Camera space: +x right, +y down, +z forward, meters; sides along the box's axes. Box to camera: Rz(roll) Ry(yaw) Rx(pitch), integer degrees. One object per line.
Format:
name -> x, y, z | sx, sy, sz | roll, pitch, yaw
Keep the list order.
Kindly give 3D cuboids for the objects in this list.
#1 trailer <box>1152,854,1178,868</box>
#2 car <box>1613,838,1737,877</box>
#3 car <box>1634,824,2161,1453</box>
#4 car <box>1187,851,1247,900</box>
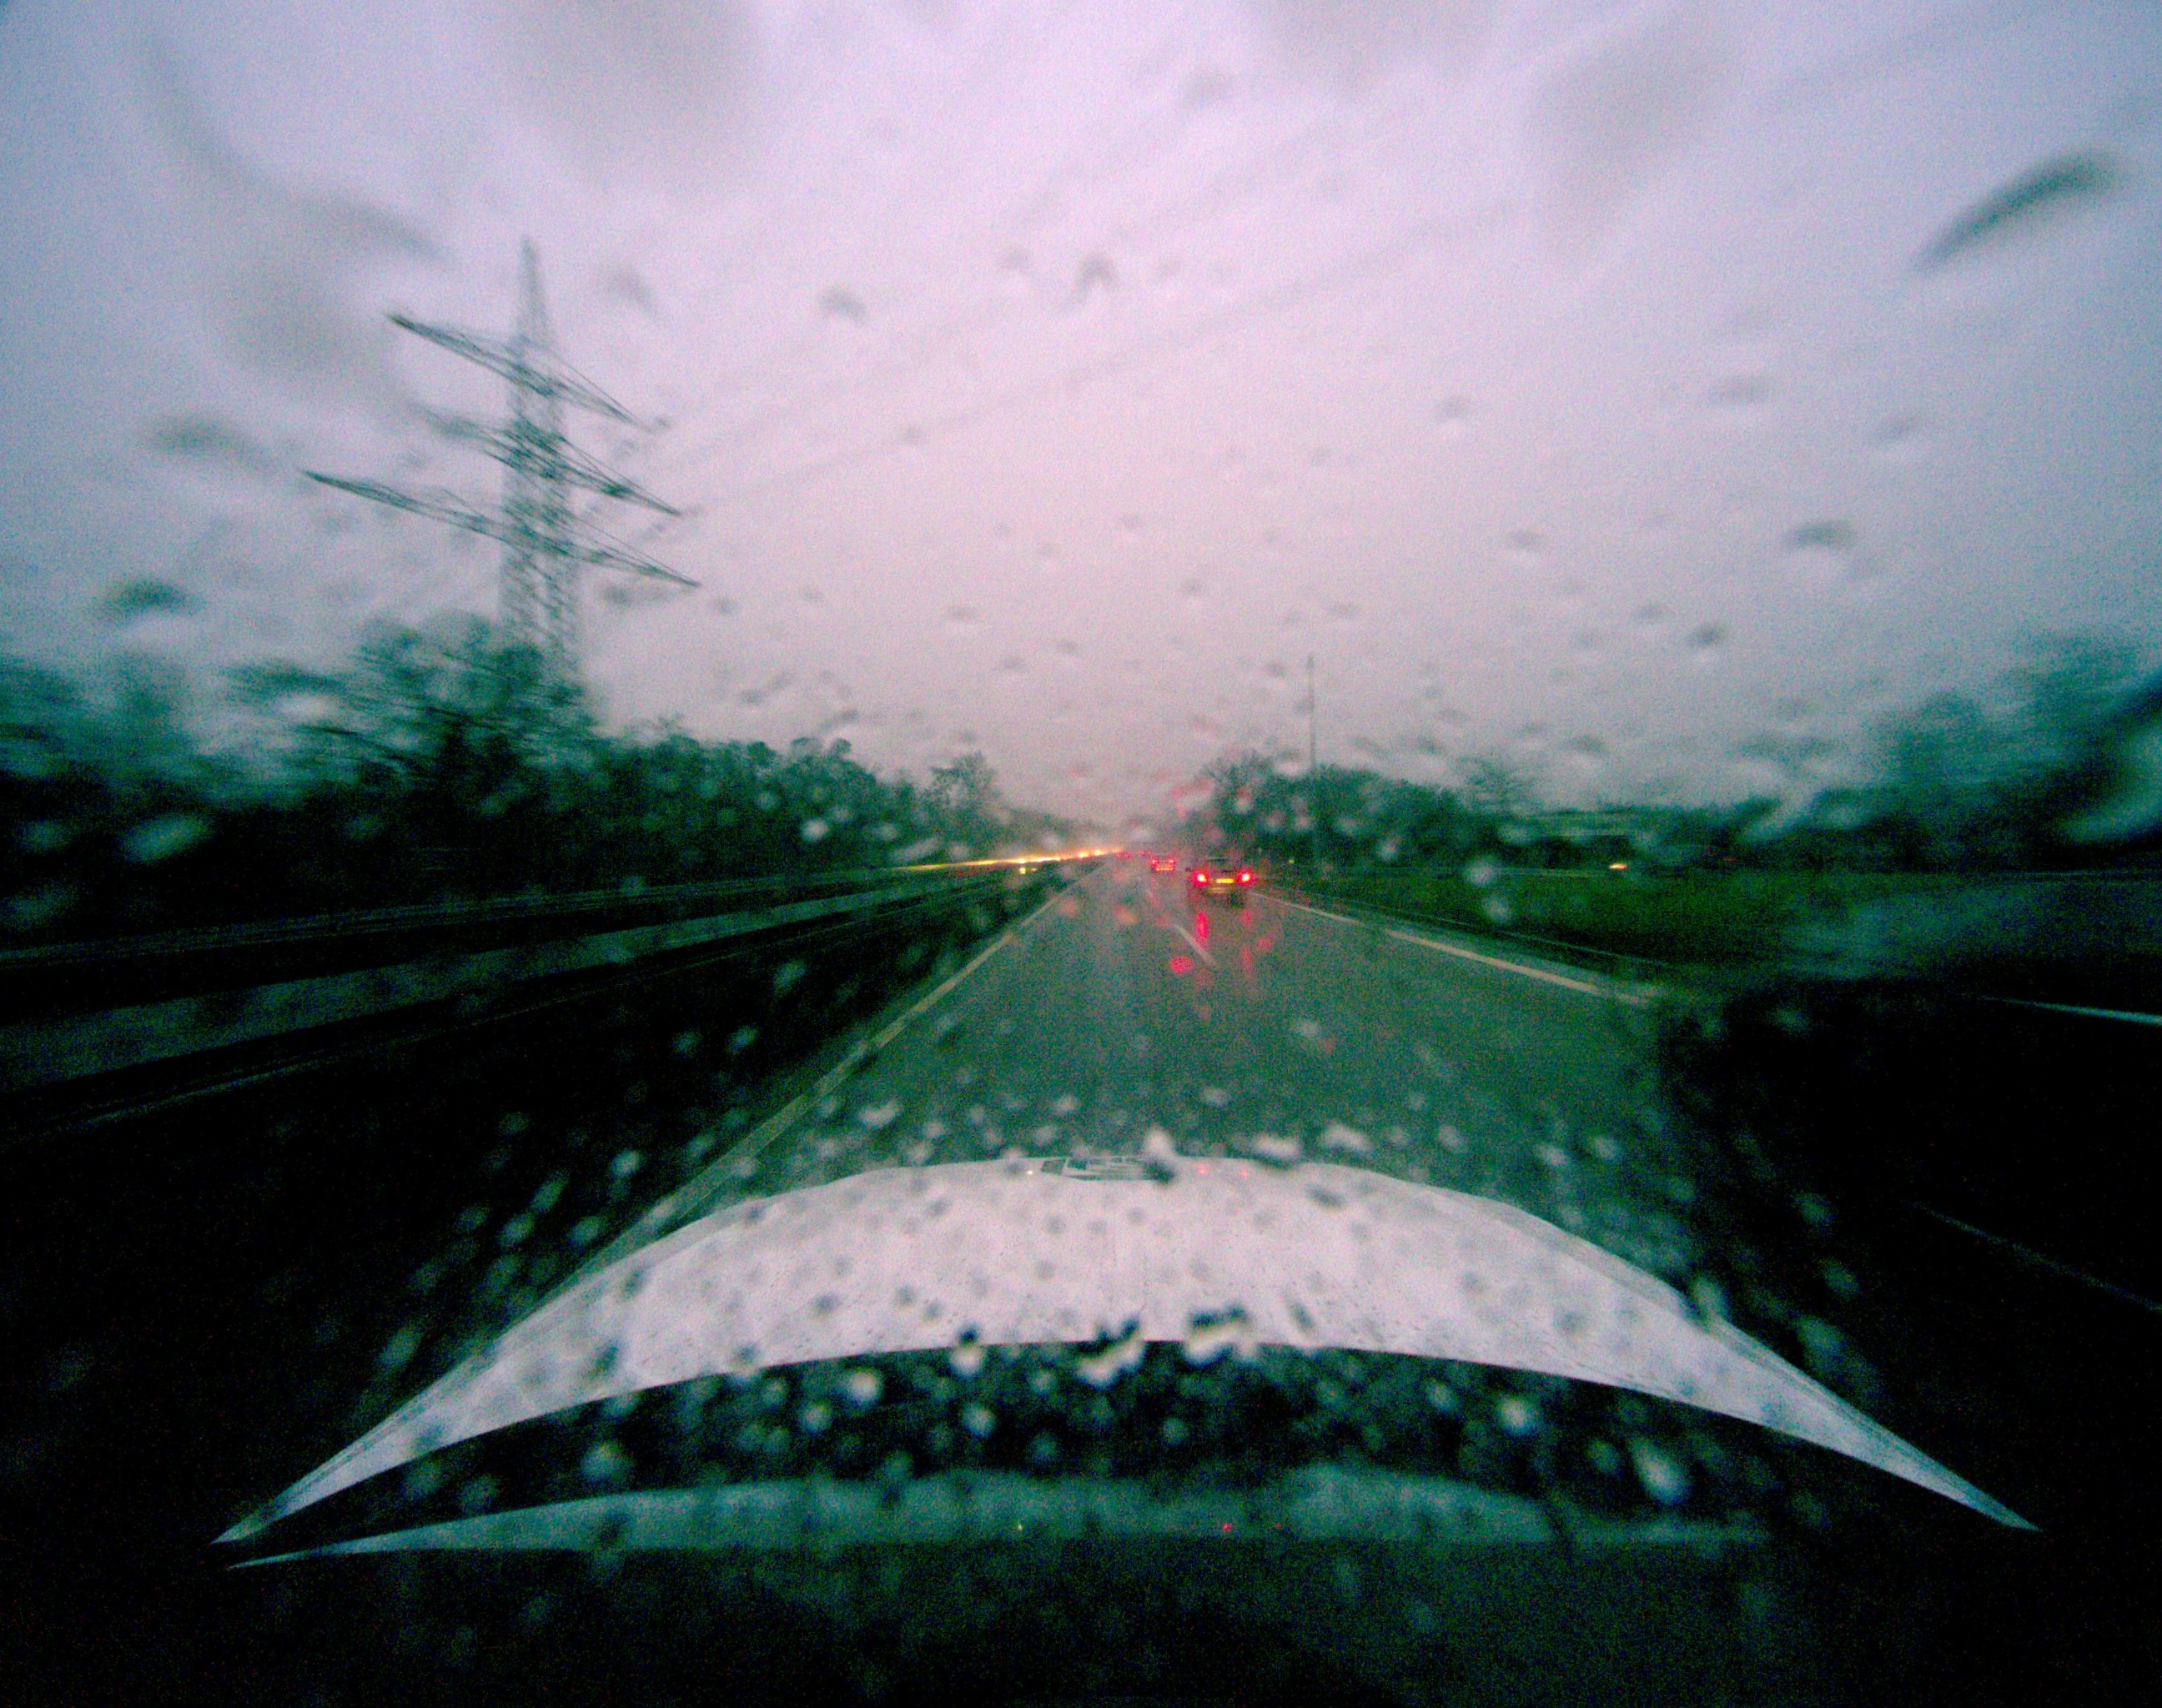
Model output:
trailer -> 6.122, 0.496, 59.726 | 1.740, 0.925, 2.954 | -3, 0, 3
car -> 22.913, 0.145, 31.570 | 3.771, 1.434, 1.805 | -1, 0, 34
car -> 3.409, 0.664, 1.921 | 1.672, 1.509, 3.810 | -1, 0, 1
car -> 4.453, 0.667, 27.016 | 1.588, 1.491, 3.598 | -1, 0, 4
